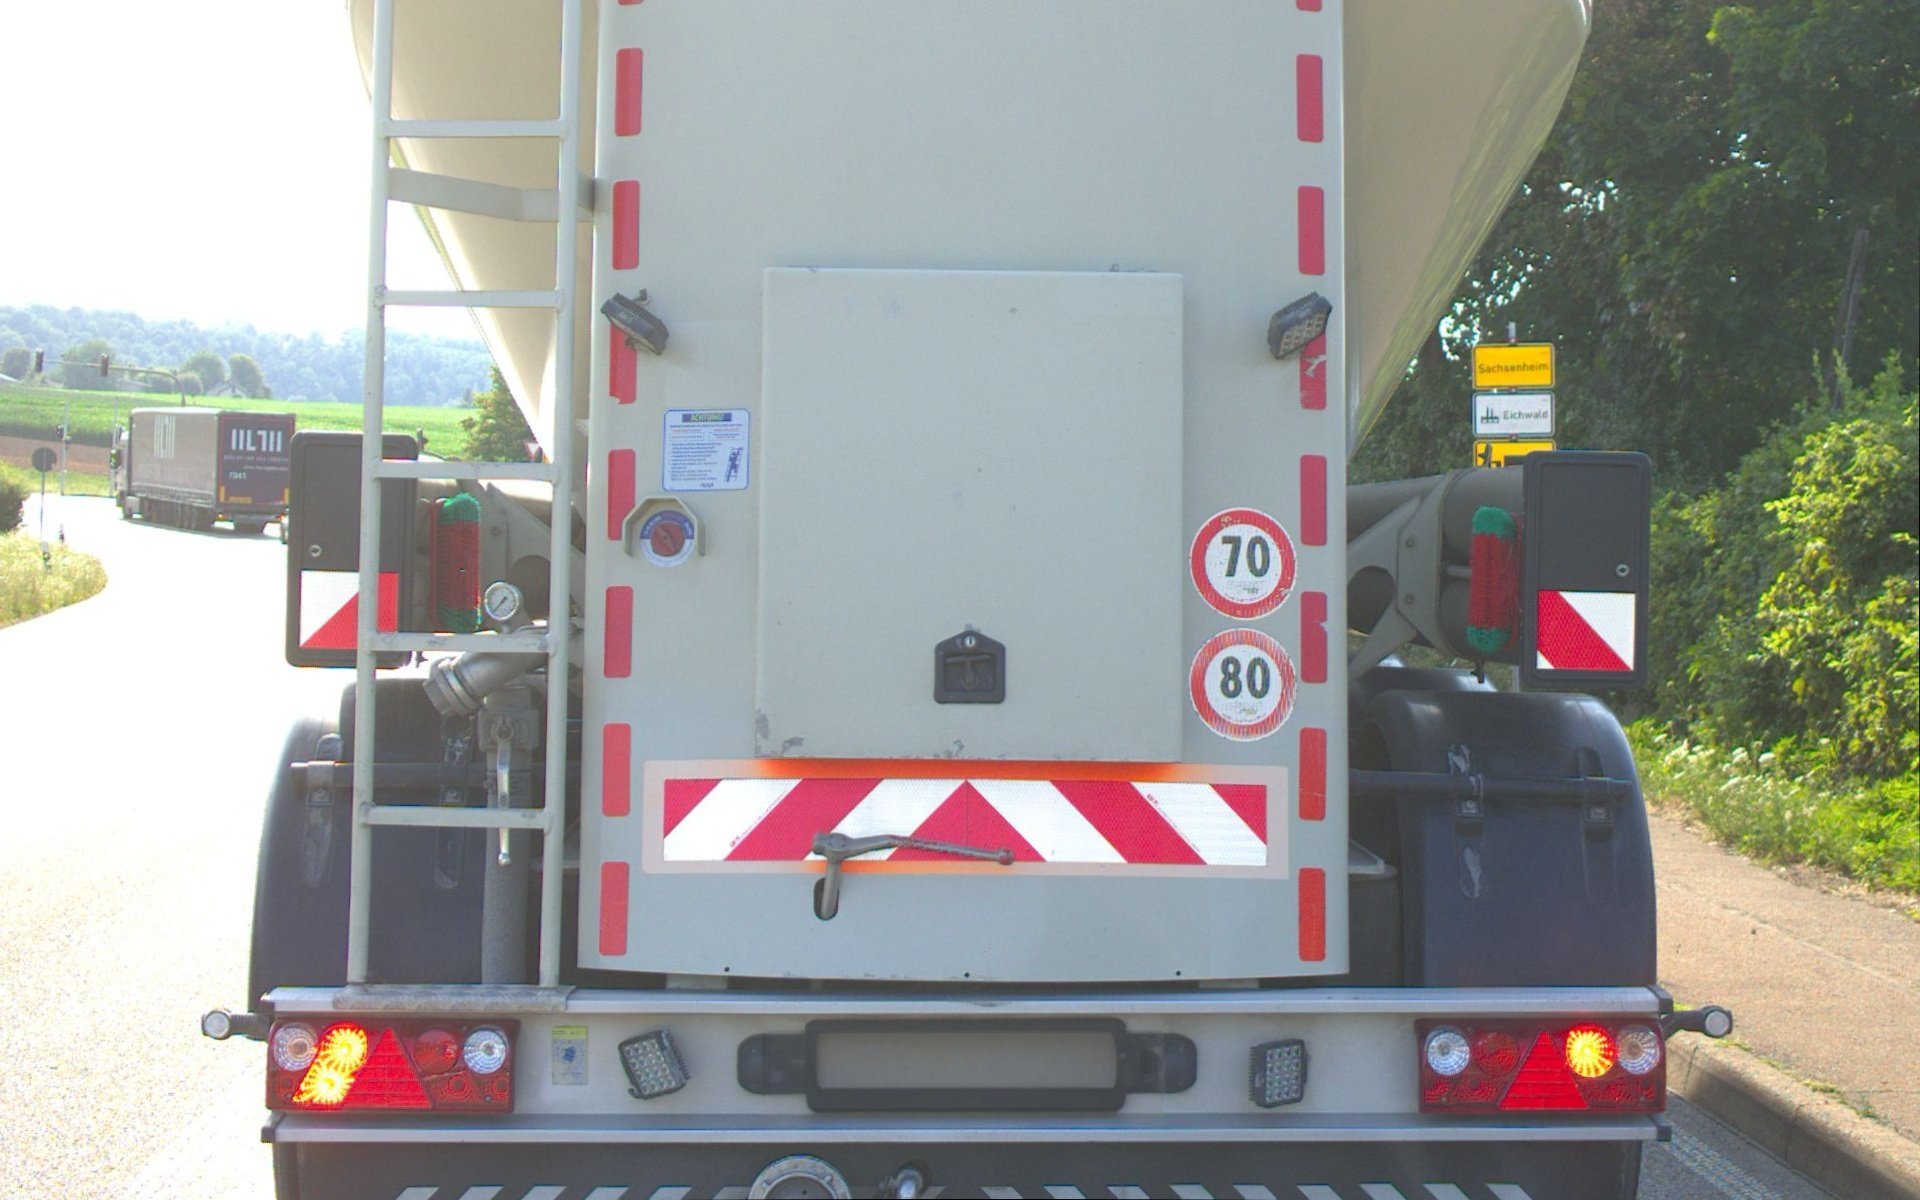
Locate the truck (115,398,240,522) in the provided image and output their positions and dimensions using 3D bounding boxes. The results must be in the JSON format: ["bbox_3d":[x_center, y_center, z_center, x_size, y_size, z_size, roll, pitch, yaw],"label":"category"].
[{"bbox_3d":[-28.980,-5.147,127.167,3.375,4.335,5.707,2,1,-24],"label":"truck"}]

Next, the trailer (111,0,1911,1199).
[{"bbox_3d":[-0.169,-0.808,10.538,2.909,3.992,9.931,1,1,-3],"label":"trailer"}]

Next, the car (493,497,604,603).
[{"bbox_3d":[-8.079,-0.990,67.201,1.861,2.007,3.720,1,1,-11],"label":"car"}]

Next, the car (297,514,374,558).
[{"bbox_3d":[-18.560,-1.909,102.045,1.769,1.201,3.427,2,1,-18],"label":"car"}]

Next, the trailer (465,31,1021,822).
[{"bbox_3d":[-1.268,-1.103,26.250,2.955,4.300,14.176,2,1,0],"label":"trailer"}]

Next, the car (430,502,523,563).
[{"bbox_3d":[-11.470,-1.610,81.484,1.580,1.336,3.427,2,1,-18],"label":"car"}]

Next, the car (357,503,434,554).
[{"bbox_3d":[-15.735,-1.996,95.753,1.580,1.336,3.427,2,1,-18],"label":"car"}]

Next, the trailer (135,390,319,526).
[{"bbox_3d":[-25.647,-4.878,119.523,3.375,4.335,14.297,2,1,-24],"label":"trailer"}]

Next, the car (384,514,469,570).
[{"bbox_3d":[-13.621,-1.490,87.640,1.580,1.336,3.427,2,1,-18],"label":"car"}]

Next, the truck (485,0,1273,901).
[{"bbox_3d":[-0.424,-0.912,14.868,2.909,3.992,4.060,1,1,-4],"label":"truck"}]
